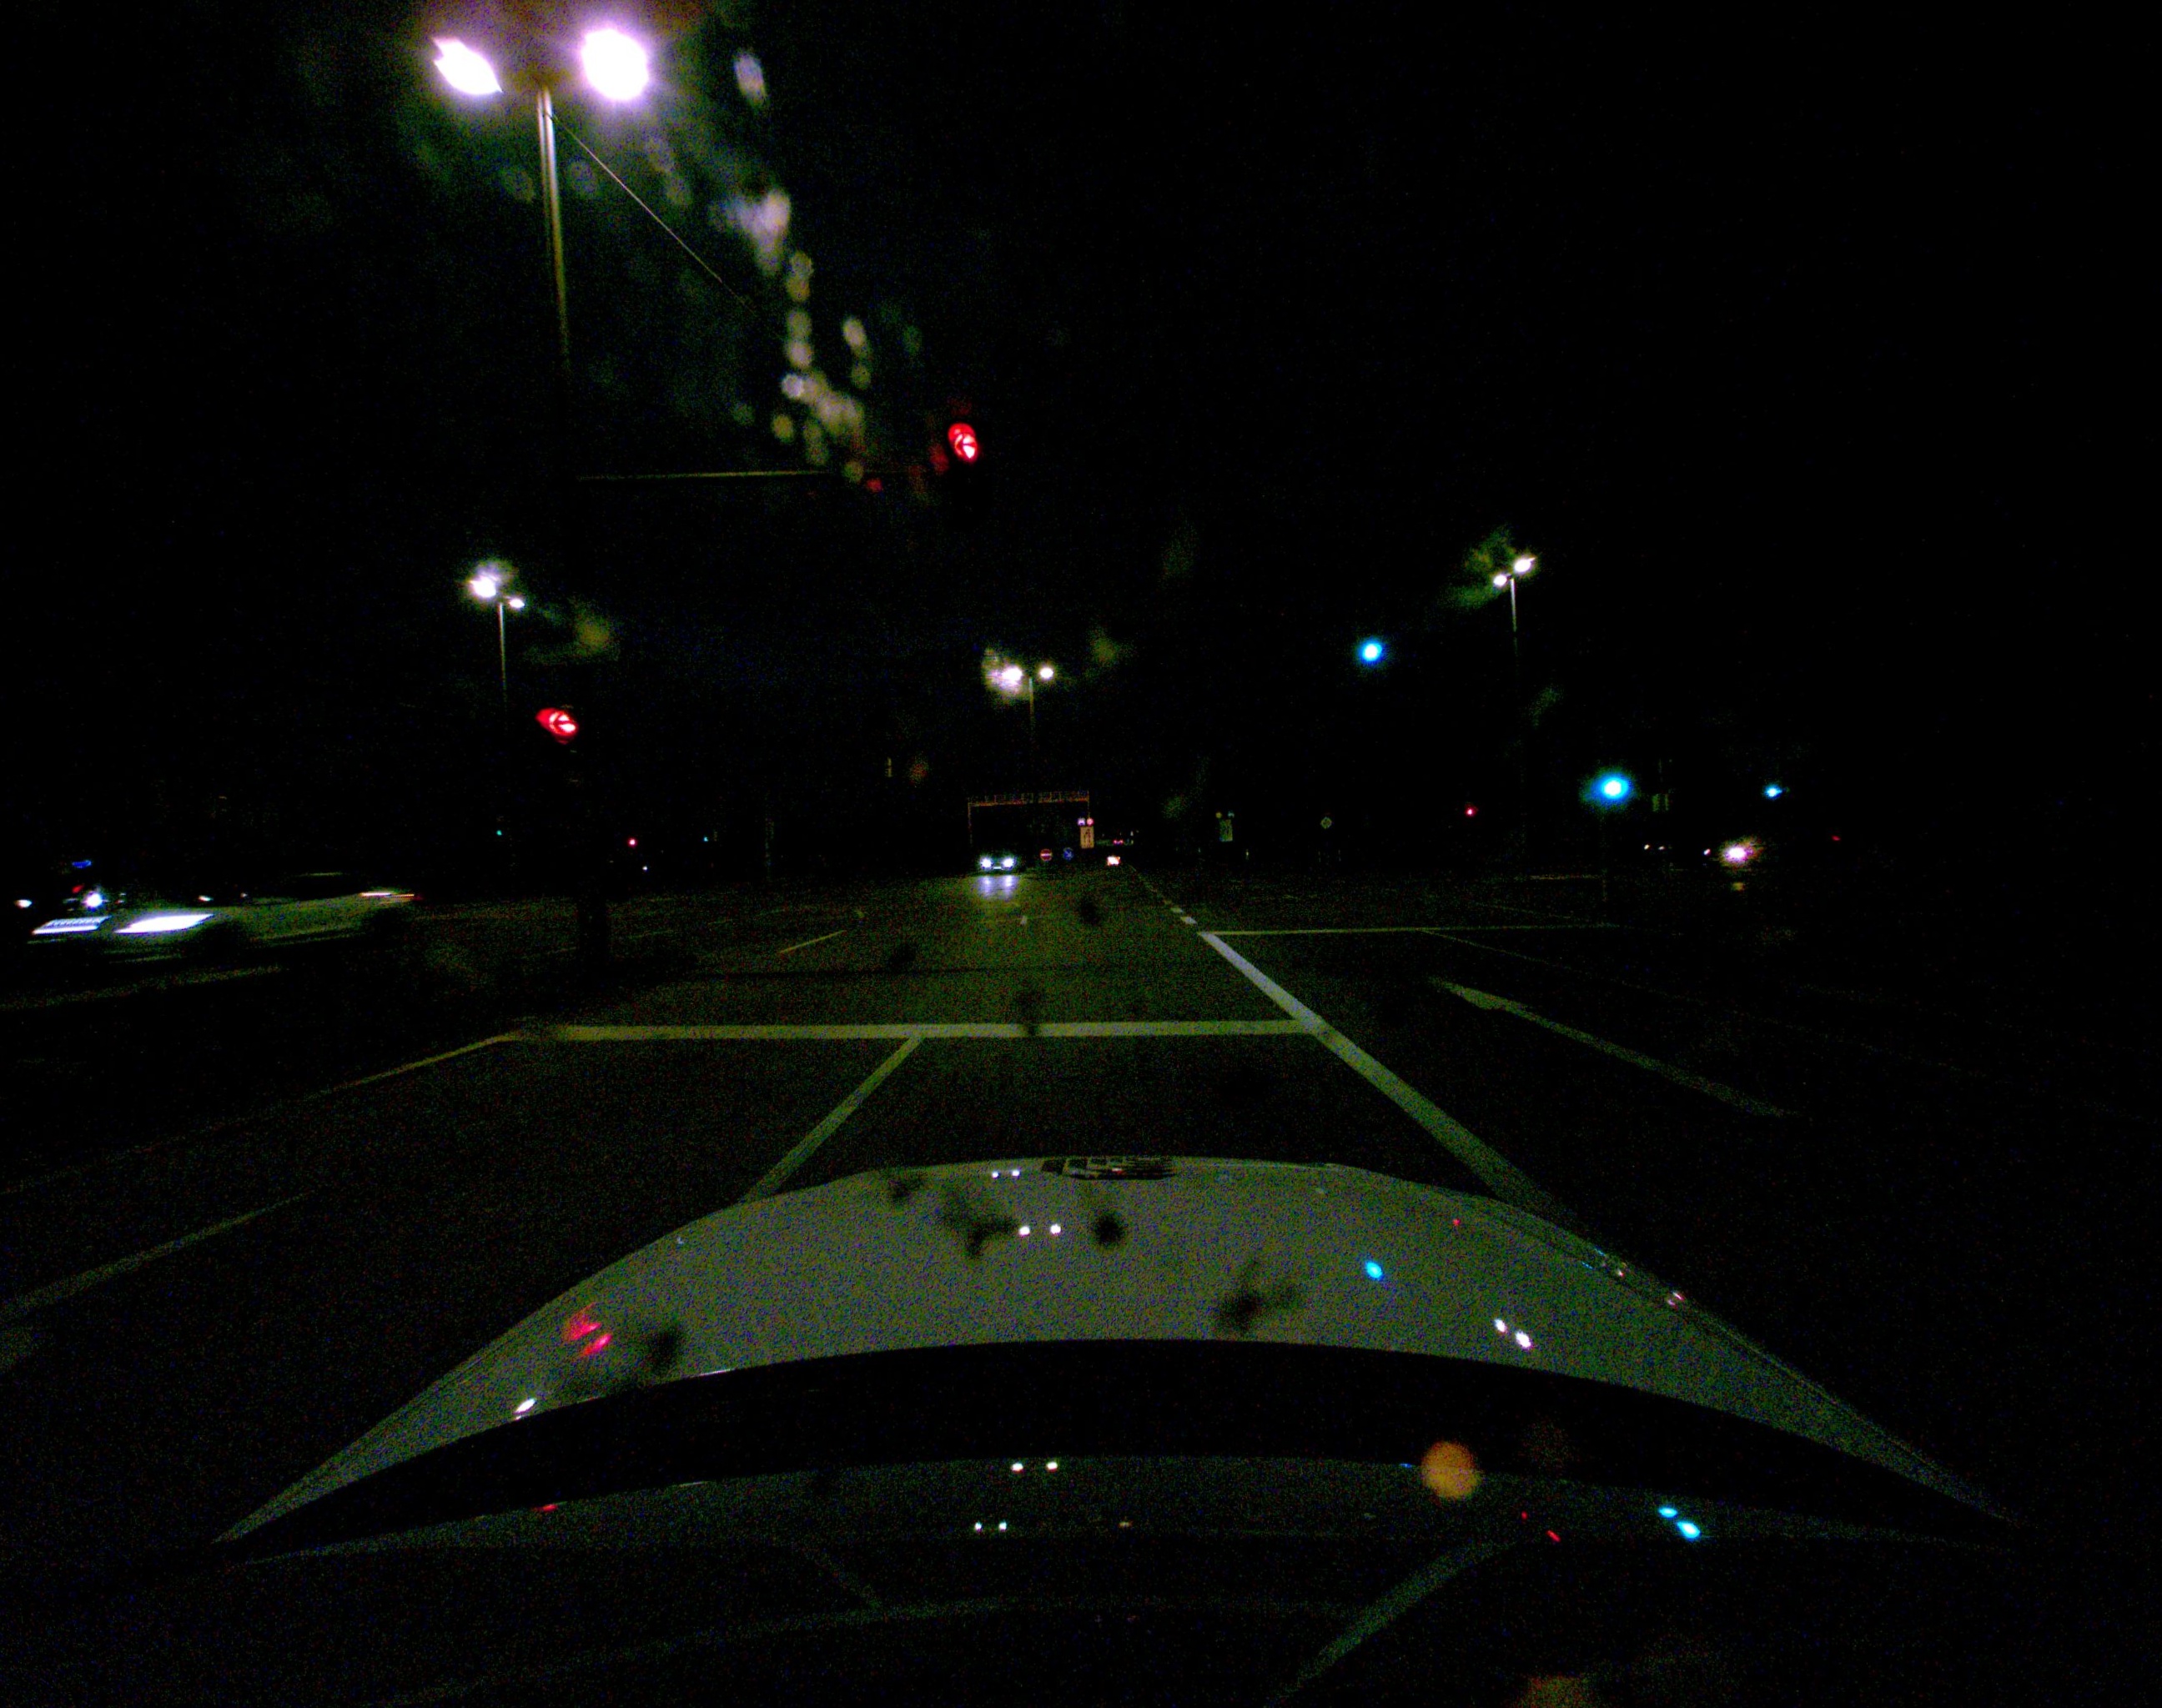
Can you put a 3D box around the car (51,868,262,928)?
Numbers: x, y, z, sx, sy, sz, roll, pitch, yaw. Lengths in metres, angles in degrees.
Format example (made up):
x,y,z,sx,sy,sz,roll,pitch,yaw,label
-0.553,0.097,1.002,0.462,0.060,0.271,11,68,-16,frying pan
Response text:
x,y,z,sx,sy,sz,roll,pitch,yaw,label
-26.989,1.254,23.881,4.029,1.537,1.728,-2,0,-2,car

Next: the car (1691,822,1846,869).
x,y,z,sx,sy,sz,roll,pitch,yaw,label
25.314,-0.324,30.087,4.062,1.569,2.001,-2,0,-2,car

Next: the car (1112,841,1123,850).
x,y,z,sx,sy,sz,roll,pitch,yaw,label
7.452,-1.706,165.475,1.999,1.611,3.850,-2,1,4,car

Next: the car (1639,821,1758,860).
x,y,z,sx,sy,sz,roll,pitch,yaw,label
27.828,-0.613,36.787,3.976,1.569,1.899,-2,1,-2,car

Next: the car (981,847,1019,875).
x,y,z,sx,sy,sz,roll,pitch,yaw,label
-5.215,0.400,52.980,1.987,1.698,4.000,-1,1,1,car

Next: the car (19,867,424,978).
x,y,z,sx,sy,sz,roll,pitch,yaw,label
-14.099,1.014,13.887,1.986,1.425,4.533,-1,0,1,car

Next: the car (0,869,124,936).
x,y,z,sx,sy,sz,roll,pitch,yaw,label
-27.274,1.247,20.477,4.299,1.537,1.729,-2,0,0,car
